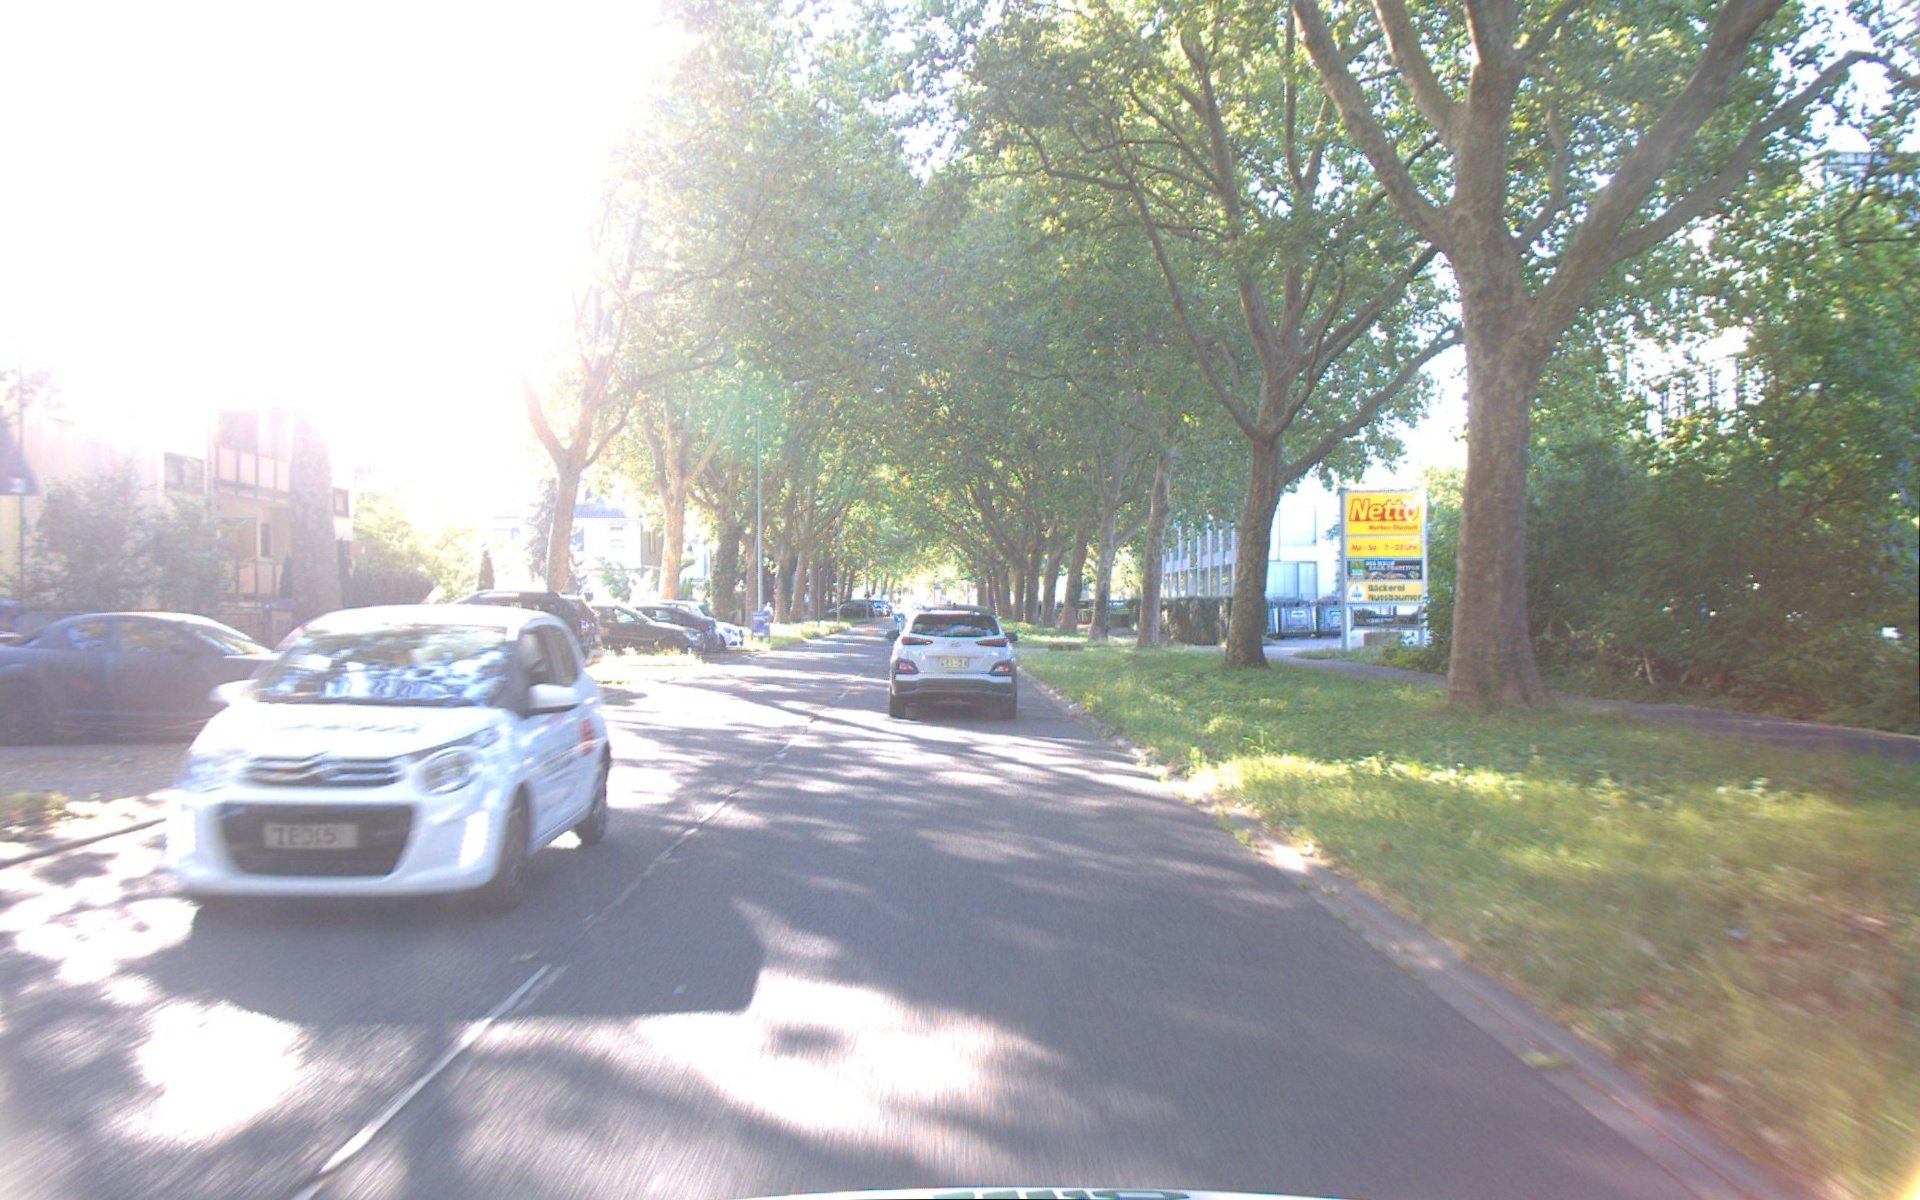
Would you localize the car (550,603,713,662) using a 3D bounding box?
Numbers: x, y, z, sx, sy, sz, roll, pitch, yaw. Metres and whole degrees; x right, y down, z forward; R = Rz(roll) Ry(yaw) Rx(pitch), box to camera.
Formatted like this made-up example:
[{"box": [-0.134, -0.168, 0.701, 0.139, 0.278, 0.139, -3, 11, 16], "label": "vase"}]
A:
[{"box": [-8.492, 0.831, 43.010, 3.907, 1.496, 1.780, 0, 0, -2], "label": "car"}]

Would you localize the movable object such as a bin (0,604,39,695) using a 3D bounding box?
[{"box": [-14.946, 0.758, 25.312, 1.161, 1.374, 0.953, -1, -1, -1], "label": "movable object such as a bin"}]

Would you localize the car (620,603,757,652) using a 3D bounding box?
[{"box": [-8.314, 0.833, 50.906, 3.905, 1.496, 1.809, 0, 0, 0], "label": "car"}]

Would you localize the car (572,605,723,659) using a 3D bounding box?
[{"box": [-8.544, 0.862, 45.525, 3.909, 1.449, 1.807, 0, 0, -5], "label": "car"}]

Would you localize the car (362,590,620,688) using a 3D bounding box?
[{"box": [-8.366, 0.681, 29.729, 4.158, 1.709, 1.670, 0, 0, -2], "label": "car"}]

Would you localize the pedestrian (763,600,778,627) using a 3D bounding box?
[{"box": [-12.512, 0.903, 109.236, 0.740, 1.737, 0.787, 1, -1, -25], "label": "pedestrian"}]

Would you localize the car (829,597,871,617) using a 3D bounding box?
[{"box": [-10.458, 0.664, 157.515, 3.910, 1.803, 1.997, 1, -1, -6], "label": "car"}]

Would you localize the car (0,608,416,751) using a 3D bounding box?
[{"box": [-8.142, 0.808, 17.565, 4.156, 1.376, 1.740, -1, 0, -3], "label": "car"}]

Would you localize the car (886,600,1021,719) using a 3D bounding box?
[{"box": [-0.129, 0.817, 24.284, 1.798, 1.583, 3.999, 0, 0, -1], "label": "car"}]

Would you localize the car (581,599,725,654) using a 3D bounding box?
[{"box": [-8.898, 0.765, 48.165, 3.907, 1.546, 1.808, 0, 0, -2], "label": "car"}]

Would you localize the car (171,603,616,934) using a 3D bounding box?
[{"box": [-2.895, 0.762, 9.100, 1.505, 1.484, 3.183, 0, 0, -3], "label": "car"}]
